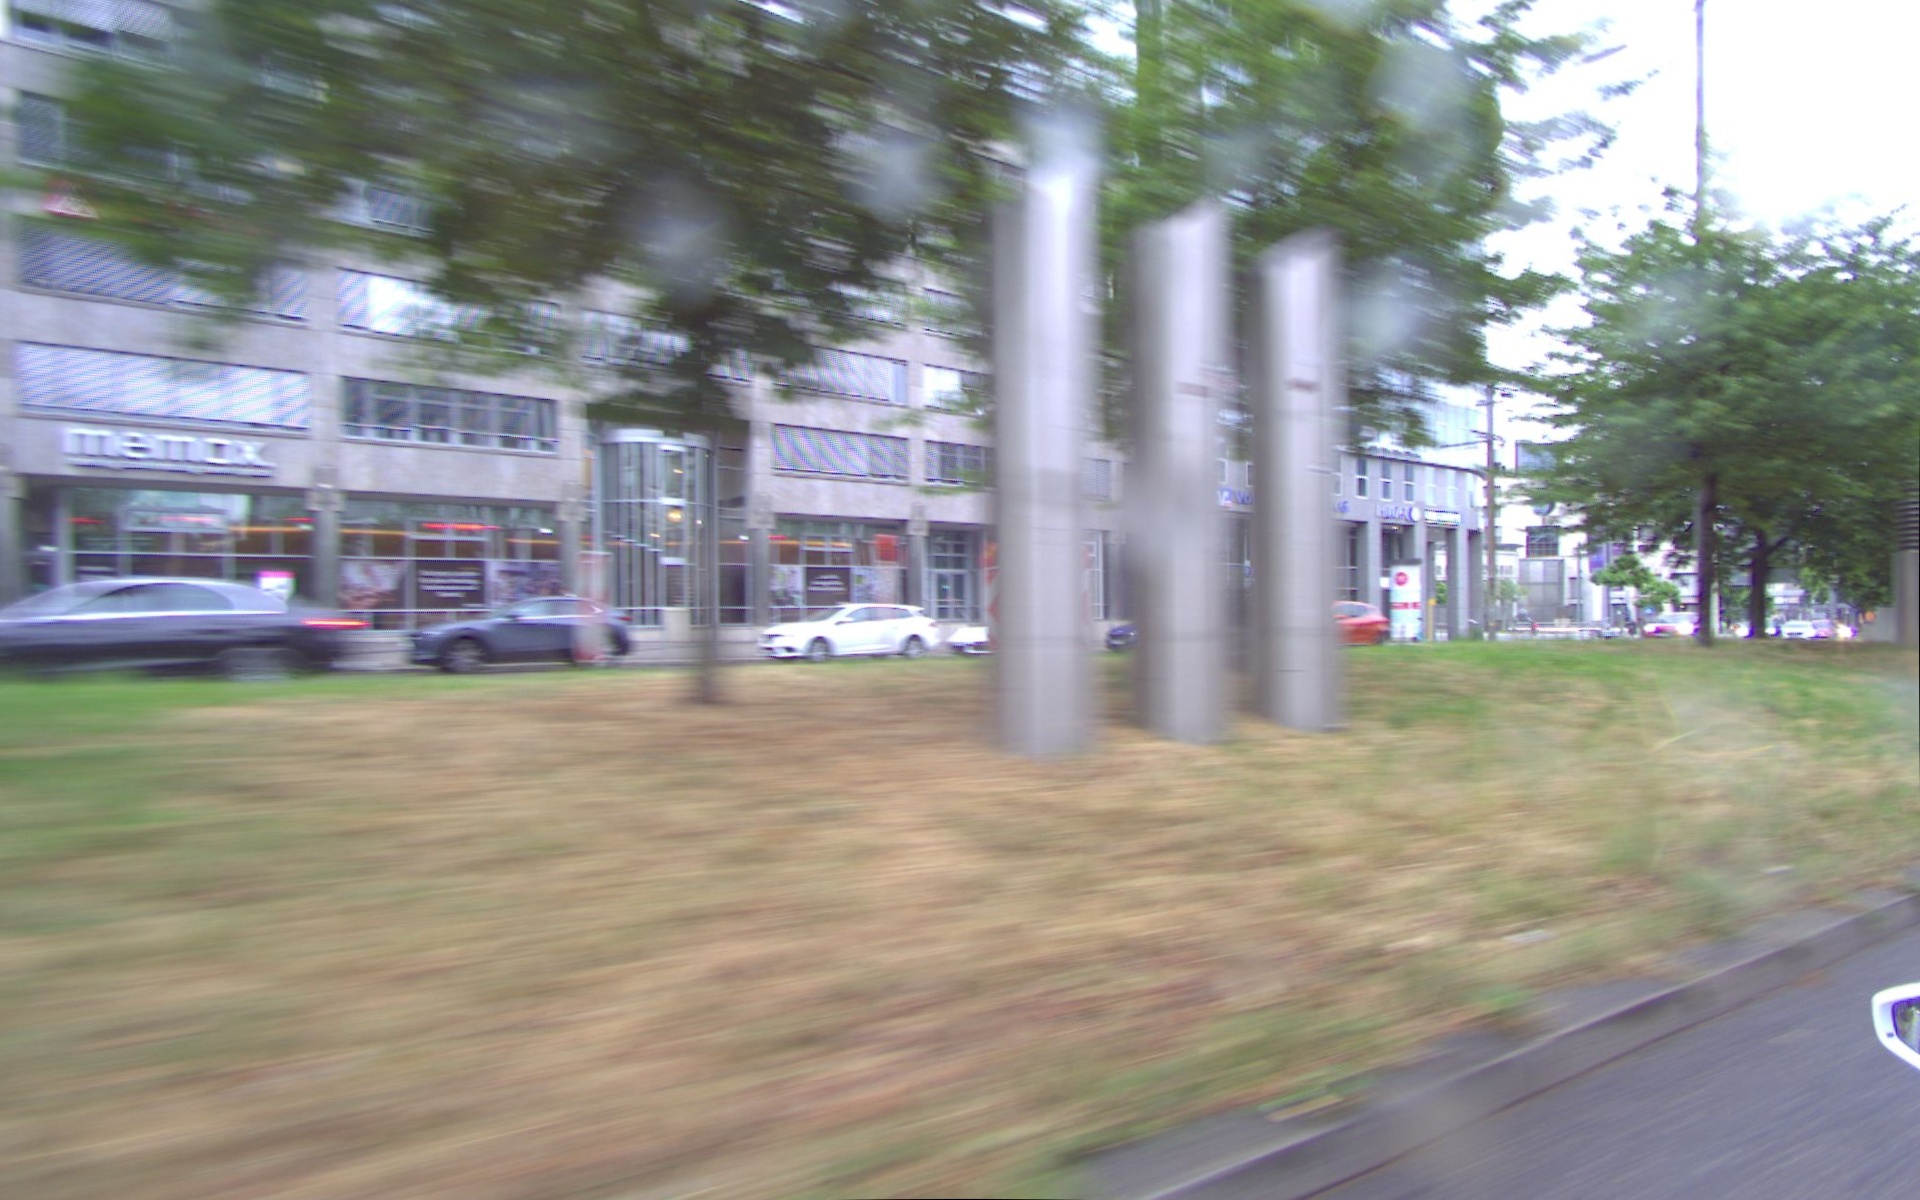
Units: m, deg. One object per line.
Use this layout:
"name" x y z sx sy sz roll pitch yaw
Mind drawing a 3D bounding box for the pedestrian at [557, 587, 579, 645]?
"pedestrian" -12.320 0.493 31.530 0.523 1.811 0.715 0 0 -32

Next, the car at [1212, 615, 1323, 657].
"car" 11.033 1.255 35.924 3.977 1.420 1.764 0 -1 -36

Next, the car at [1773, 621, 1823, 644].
"car" 56.735 2.205 67.997 4.157 1.495 1.805 1 -1 -39

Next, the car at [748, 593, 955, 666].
"car" -2.636 0.721 24.904 4.861 1.643 1.765 1 -1 -33

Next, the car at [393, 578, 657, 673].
"car" -8.850 0.509 20.577 4.741 1.748 1.851 0 -1 -33

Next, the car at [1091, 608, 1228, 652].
"car" 6.481 0.944 32.422 4.434 1.343 1.878 1 -1 -37

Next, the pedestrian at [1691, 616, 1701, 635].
"pedestrian" 81.855 2.852 111.755 0.781 2.040 0.736 2 1 45

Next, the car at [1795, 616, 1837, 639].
"car" 67.614 2.130 79.332 4.543 1.750 1.711 1 -1 -39

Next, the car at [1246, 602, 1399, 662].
"car" 9.514 0.802 26.251 4.094 1.448 1.848 1 -1 -37

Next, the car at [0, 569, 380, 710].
"car" -9.467 0.434 11.749 4.521 1.448 1.849 0 -1 -36

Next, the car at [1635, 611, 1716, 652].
"car" 31.604 1.373 44.361 3.965 1.723 1.930 1 -1 -39

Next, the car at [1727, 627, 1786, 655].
"car" 46.063 2.350 58.062 3.965 1.495 1.853 1 -1 -39

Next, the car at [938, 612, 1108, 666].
"car" 1.803 1.045 28.034 4.634 1.420 1.765 0 -1 -33
